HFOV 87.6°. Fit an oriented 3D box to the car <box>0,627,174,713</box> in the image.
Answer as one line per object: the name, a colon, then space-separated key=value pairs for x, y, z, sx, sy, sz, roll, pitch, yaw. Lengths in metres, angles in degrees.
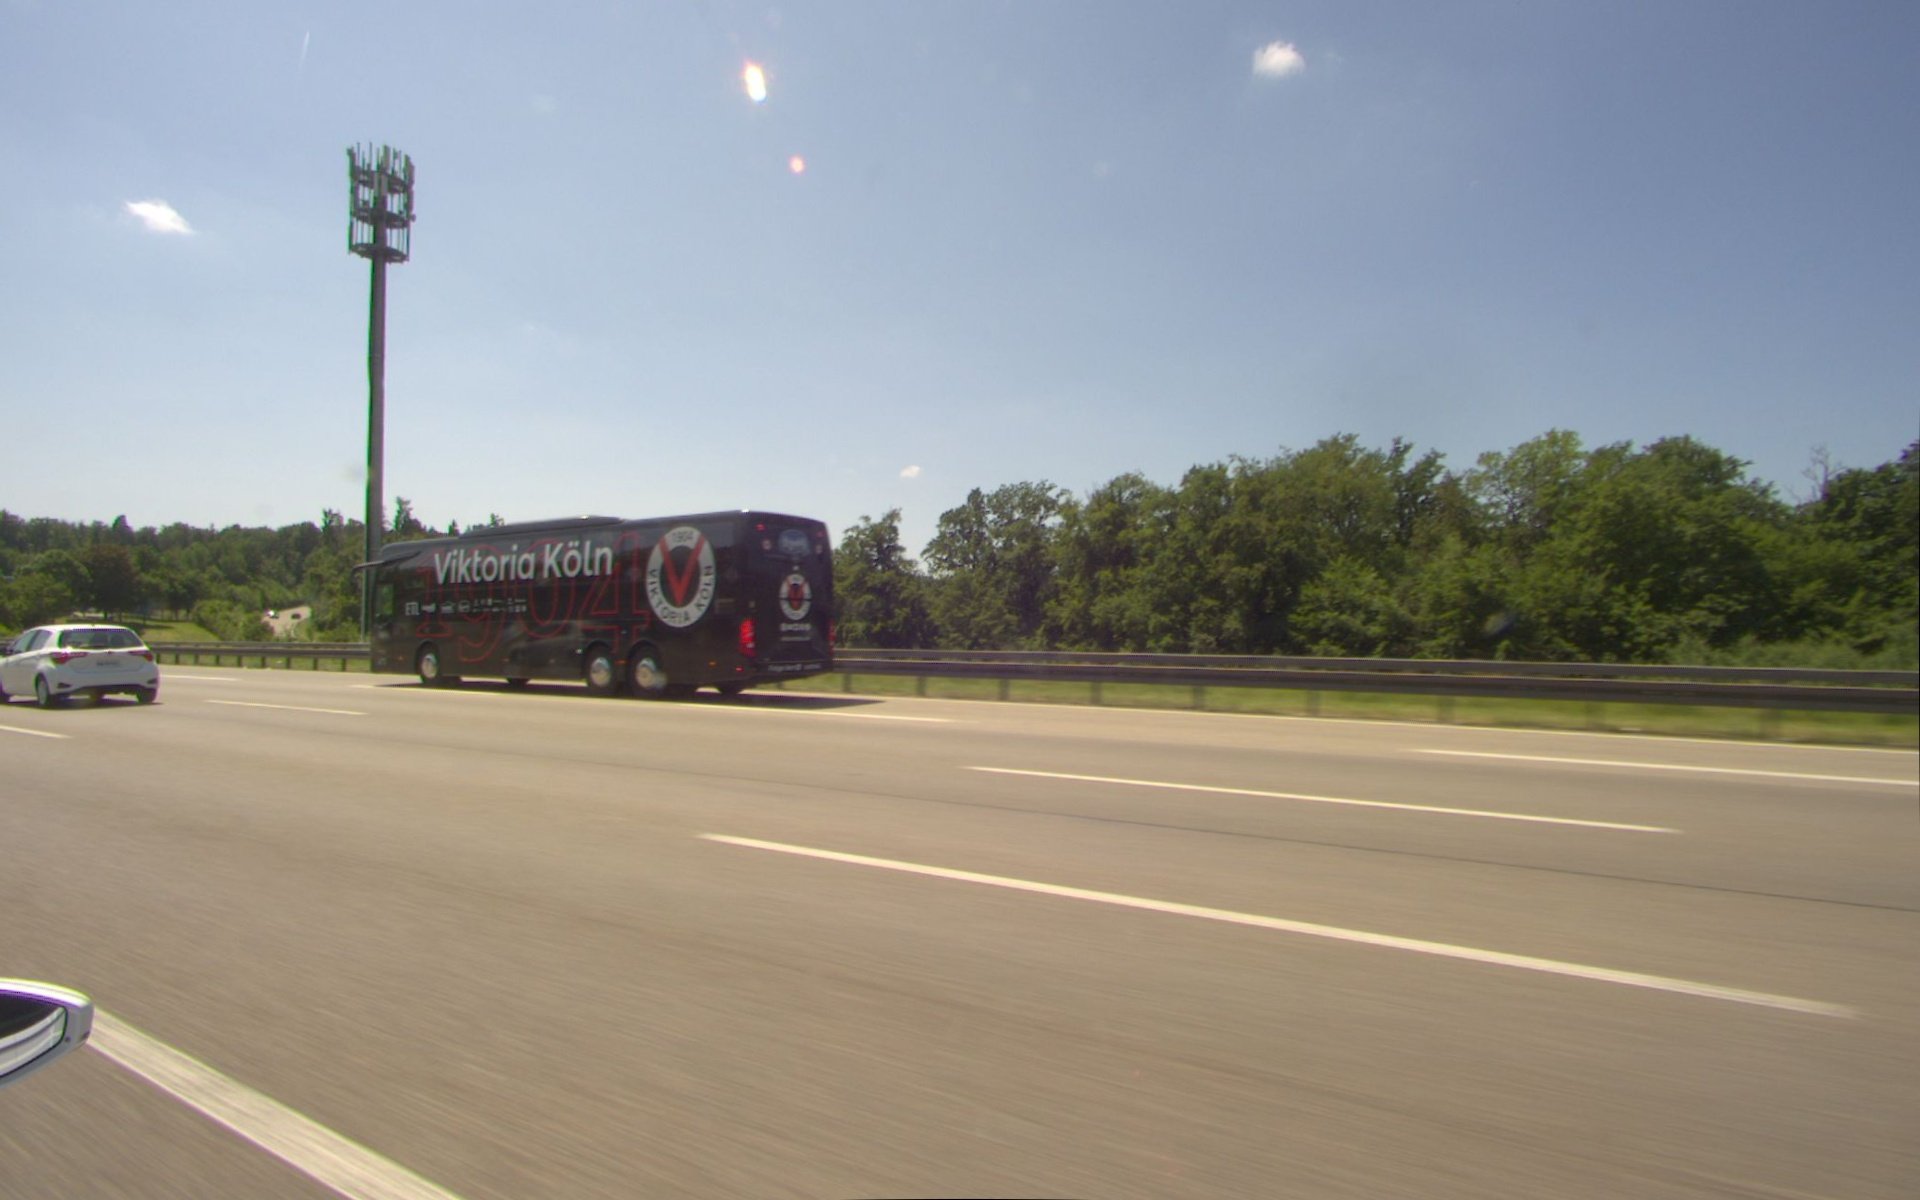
car: x=-17.131 y=1.285 z=19.390 sx=4.314 sy=1.453 sz=1.662 roll=-1 pitch=1 yaw=33

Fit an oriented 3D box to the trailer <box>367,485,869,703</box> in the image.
trailer: x=-8.132 y=0.110 z=22.017 sx=13.354 sy=3.734 sz=2.852 roll=-2 pitch=-2 yaw=33
